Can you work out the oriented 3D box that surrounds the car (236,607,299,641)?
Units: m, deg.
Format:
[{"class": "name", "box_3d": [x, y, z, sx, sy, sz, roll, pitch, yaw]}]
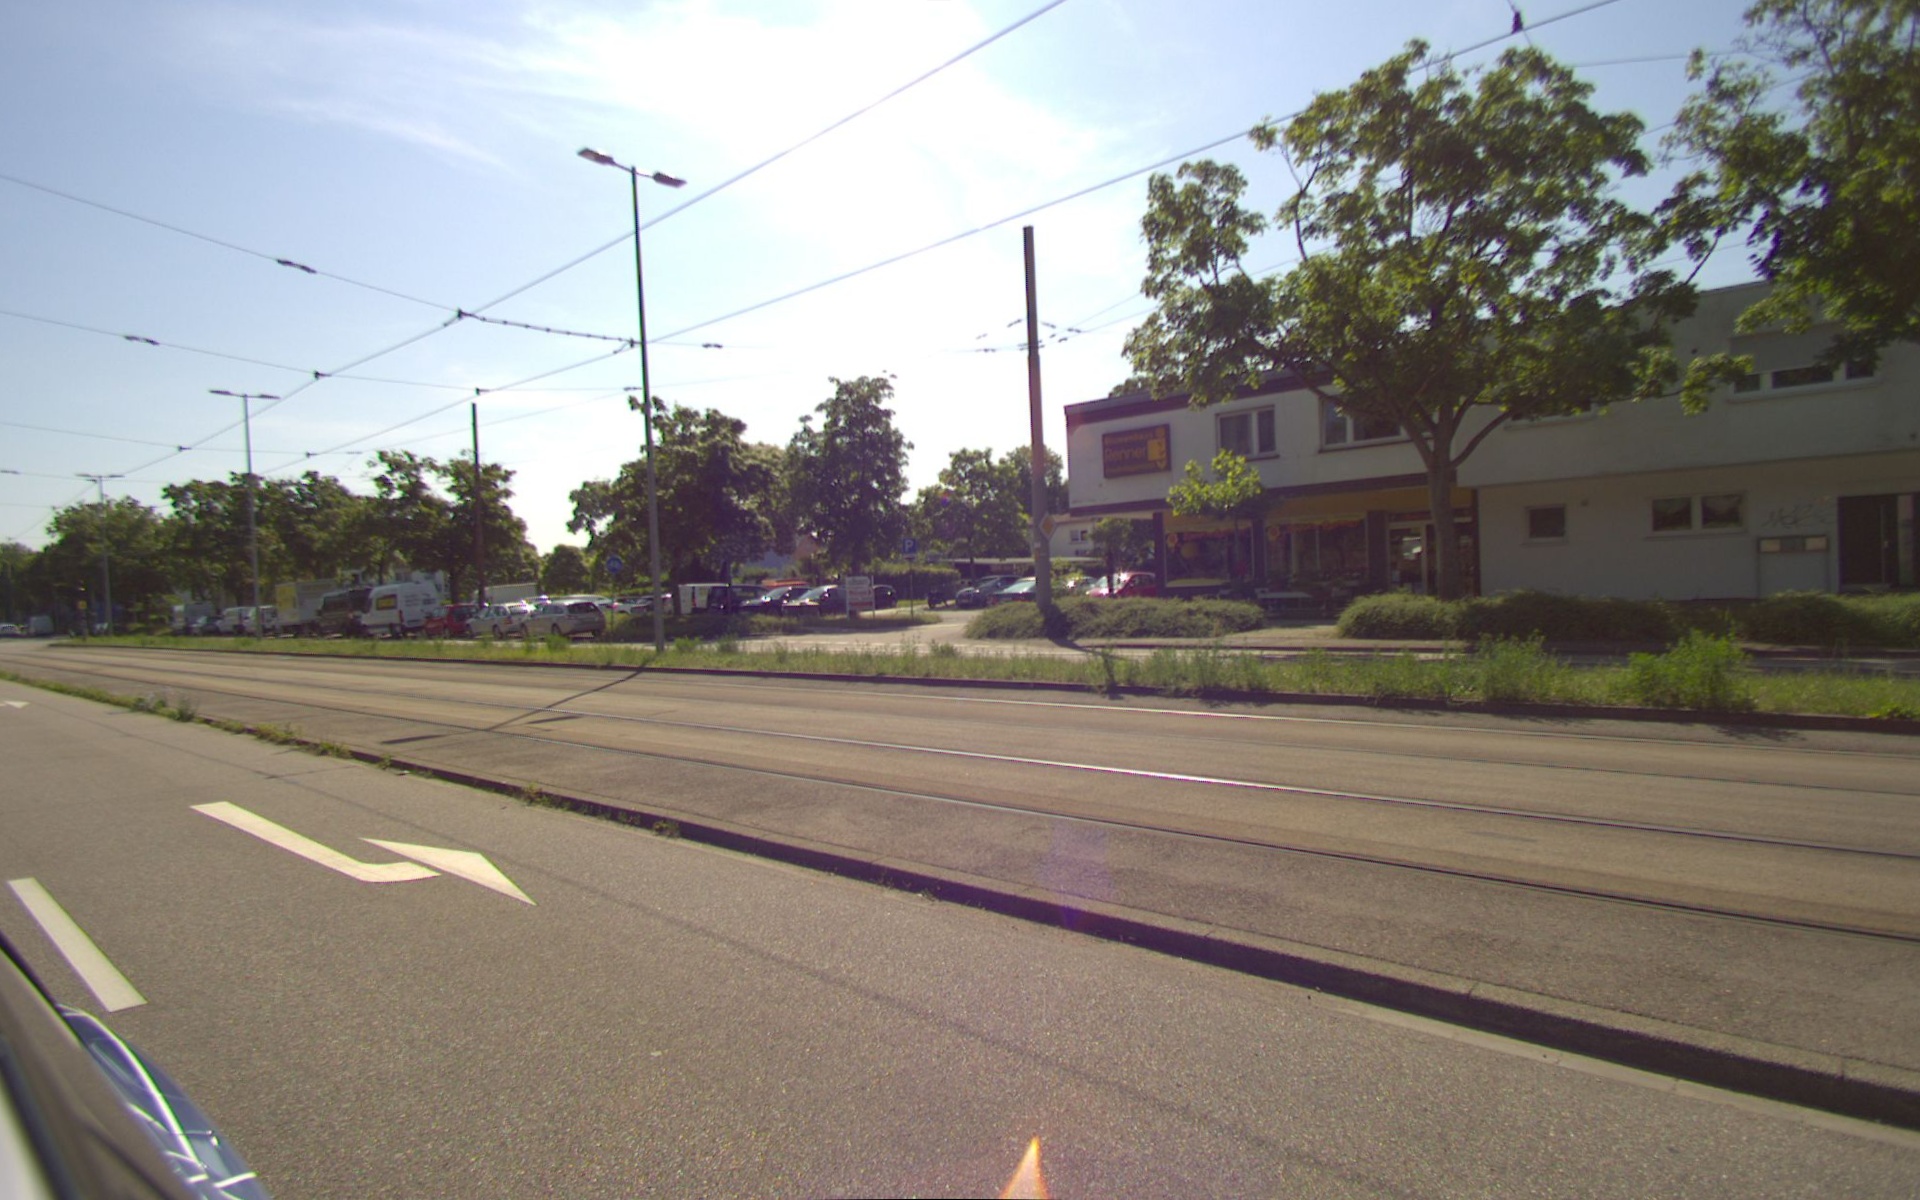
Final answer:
[{"class": "car", "box_3d": [-45.049, 1.567, 65.793, 5.184, 1.955, 2.173, -2, 3, 43]}]

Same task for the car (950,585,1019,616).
[{"class": "car", "box_3d": [1.353, 0.008, 54.366, 1.674, 1.435, 3.935, -2, 1, 38]}]

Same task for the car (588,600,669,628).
[{"class": "car", "box_3d": [-18.152, 0.755, 55.545, 1.658, 1.381, 3.949, -2, 0, 38]}]

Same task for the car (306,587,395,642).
[{"class": "car", "box_3d": [-32.678, 0.814, 54.168, 6.075, 2.688, 2.174, -2, 2, 41]}]

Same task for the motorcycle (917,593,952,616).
[{"class": "motorcycle", "box_3d": [-1.432, 0.239, 58.020, 0.734, 1.243, 2.104, -2, 0, 42]}]

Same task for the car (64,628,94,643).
[{"class": "car", "box_3d": [-95.036, 3.803, 109.167, 4.453, 1.446, 1.658, -2, 0, 39]}]

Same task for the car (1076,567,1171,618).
[{"class": "car", "box_3d": [6.456, -0.321, 39.642, 1.697, 1.748, 4.104, -2, 2, 42]}]

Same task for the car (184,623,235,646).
[{"class": "car", "box_3d": [-55.008, 2.548, 74.132, 4.883, 1.465, 1.912, -2, 2, 41]}]

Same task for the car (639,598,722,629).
[{"class": "car", "box_3d": [-14.151, 0.681, 51.446, 1.487, 1.381, 3.950, -2, 0, 37]}]

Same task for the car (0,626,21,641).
[{"class": "car", "box_3d": [-108.453, 3.793, 115.230, 4.661, 1.609, 2.020, -2, -1, 44]}]

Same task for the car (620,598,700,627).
[{"class": "car", "box_3d": [-15.990, 0.662, 54.145, 1.487, 1.381, 3.950, -2, 0, 37]}]

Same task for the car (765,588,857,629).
[{"class": "car", "box_3d": [-6.555, 0.357, 44.822, 1.662, 1.574, 3.948, -2, 1, 39]}]

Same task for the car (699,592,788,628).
[{"class": "car", "box_3d": [-10.303, 0.462, 48.308, 1.662, 1.574, 3.948, -2, 0, 39]}]

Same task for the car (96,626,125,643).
[{"class": "car", "box_3d": [-81.973, 3.325, 97.601, 4.082, 1.461, 1.598, -2, 0, 43]}]

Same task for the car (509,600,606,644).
[{"class": "car", "box_3d": [-15.700, 0.882, 39.320, 4.617, 1.501, 1.587, -2, 3, 43]}]

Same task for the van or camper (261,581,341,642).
[{"class": "van or camper", "box_3d": [-39.095, 0.727, 59.928, 6.771, 3.264, 2.173, -2, 2, 43]}]

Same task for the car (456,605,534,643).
[{"class": "car", "box_3d": [-19.596, 1.009, 42.600, 4.349, 1.501, 1.278, -2, 1, 41]}]

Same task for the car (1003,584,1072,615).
[{"class": "car", "box_3d": [4.101, -0.029, 53.299, 1.674, 1.435, 3.934, -2, 1, 39]}]

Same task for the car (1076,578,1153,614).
[{"class": "car", "box_3d": [7.525, -0.217, 49.091, 1.909, 1.545, 3.948, -2, 1, 40]}]

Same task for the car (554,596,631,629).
[{"class": "car", "box_3d": [-21.620, 0.719, 59.614, 1.662, 1.707, 3.946, -2, 1, 41]}]

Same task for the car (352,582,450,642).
[{"class": "car", "box_3d": [-27.392, 0.631, 49.499, 5.977, 2.650, 2.173, -2, 2, 42]}]

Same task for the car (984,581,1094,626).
[{"class": "car", "box_3d": [2.823, 0.116, 35.496, 1.697, 1.354, 4.104, -2, 1, 42]}]

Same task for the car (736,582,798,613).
[{"class": "car", "box_3d": [-13.543, -0.197, 71.001, 1.908, 2.018, 3.950, -2, 0, 38]}]

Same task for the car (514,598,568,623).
[{"class": "car", "box_3d": [-36.246, 0.906, 87.640, 1.783, 1.905, 3.950, -2, 0, 37]}]

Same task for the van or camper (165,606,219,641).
[{"class": "van or camper", "box_3d": [-59.471, 1.837, 78.288, 6.146, 2.533, 2.233, -2, 0, 43]}]

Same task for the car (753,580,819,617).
[{"class": "car", "box_3d": [-11.386, -0.133, 66.417, 1.908, 2.216, 3.950, -2, 0, 38]}]

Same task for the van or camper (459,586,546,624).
[{"class": "van or camper", "box_3d": [-42.885, 0.426, 95.014, 2.579, 3.269, 6.882, -2, 1, 39]}]

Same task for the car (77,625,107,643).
[{"class": "car", "box_3d": [-89.909, 3.525, 104.799, 4.238, 1.624, 1.658, -2, 0, 39]}]

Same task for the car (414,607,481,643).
[{"class": "car", "box_3d": [-23.176, 1.140, 45.735, 3.673, 1.501, 1.279, -2, 1, 40]}]

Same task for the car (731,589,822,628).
[{"class": "car", "box_3d": [-8.362, 0.367, 46.423, 1.662, 1.574, 3.948, -2, 0, 39]}]

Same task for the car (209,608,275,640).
[{"class": "car", "box_3d": [-49.783, 1.683, 70.144, 5.176, 1.955, 2.176, -2, 2, 37]}]

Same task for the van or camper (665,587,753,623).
[{"class": "van or camper", "box_3d": [-12.361, 0.230, 49.998, 1.873, 1.574, 3.952, -2, 1, 36]}]

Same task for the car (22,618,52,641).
[{"class": "car", "box_3d": [-118.362, 3.780, 129.721, 6.083, 2.670, 1.991, -2, 4, 42]}]

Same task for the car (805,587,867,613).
[{"class": "car", "box_3d": [-7.724, 0.011, 63.205, 1.531, 1.435, 3.808, -2, 1, 39]}]
